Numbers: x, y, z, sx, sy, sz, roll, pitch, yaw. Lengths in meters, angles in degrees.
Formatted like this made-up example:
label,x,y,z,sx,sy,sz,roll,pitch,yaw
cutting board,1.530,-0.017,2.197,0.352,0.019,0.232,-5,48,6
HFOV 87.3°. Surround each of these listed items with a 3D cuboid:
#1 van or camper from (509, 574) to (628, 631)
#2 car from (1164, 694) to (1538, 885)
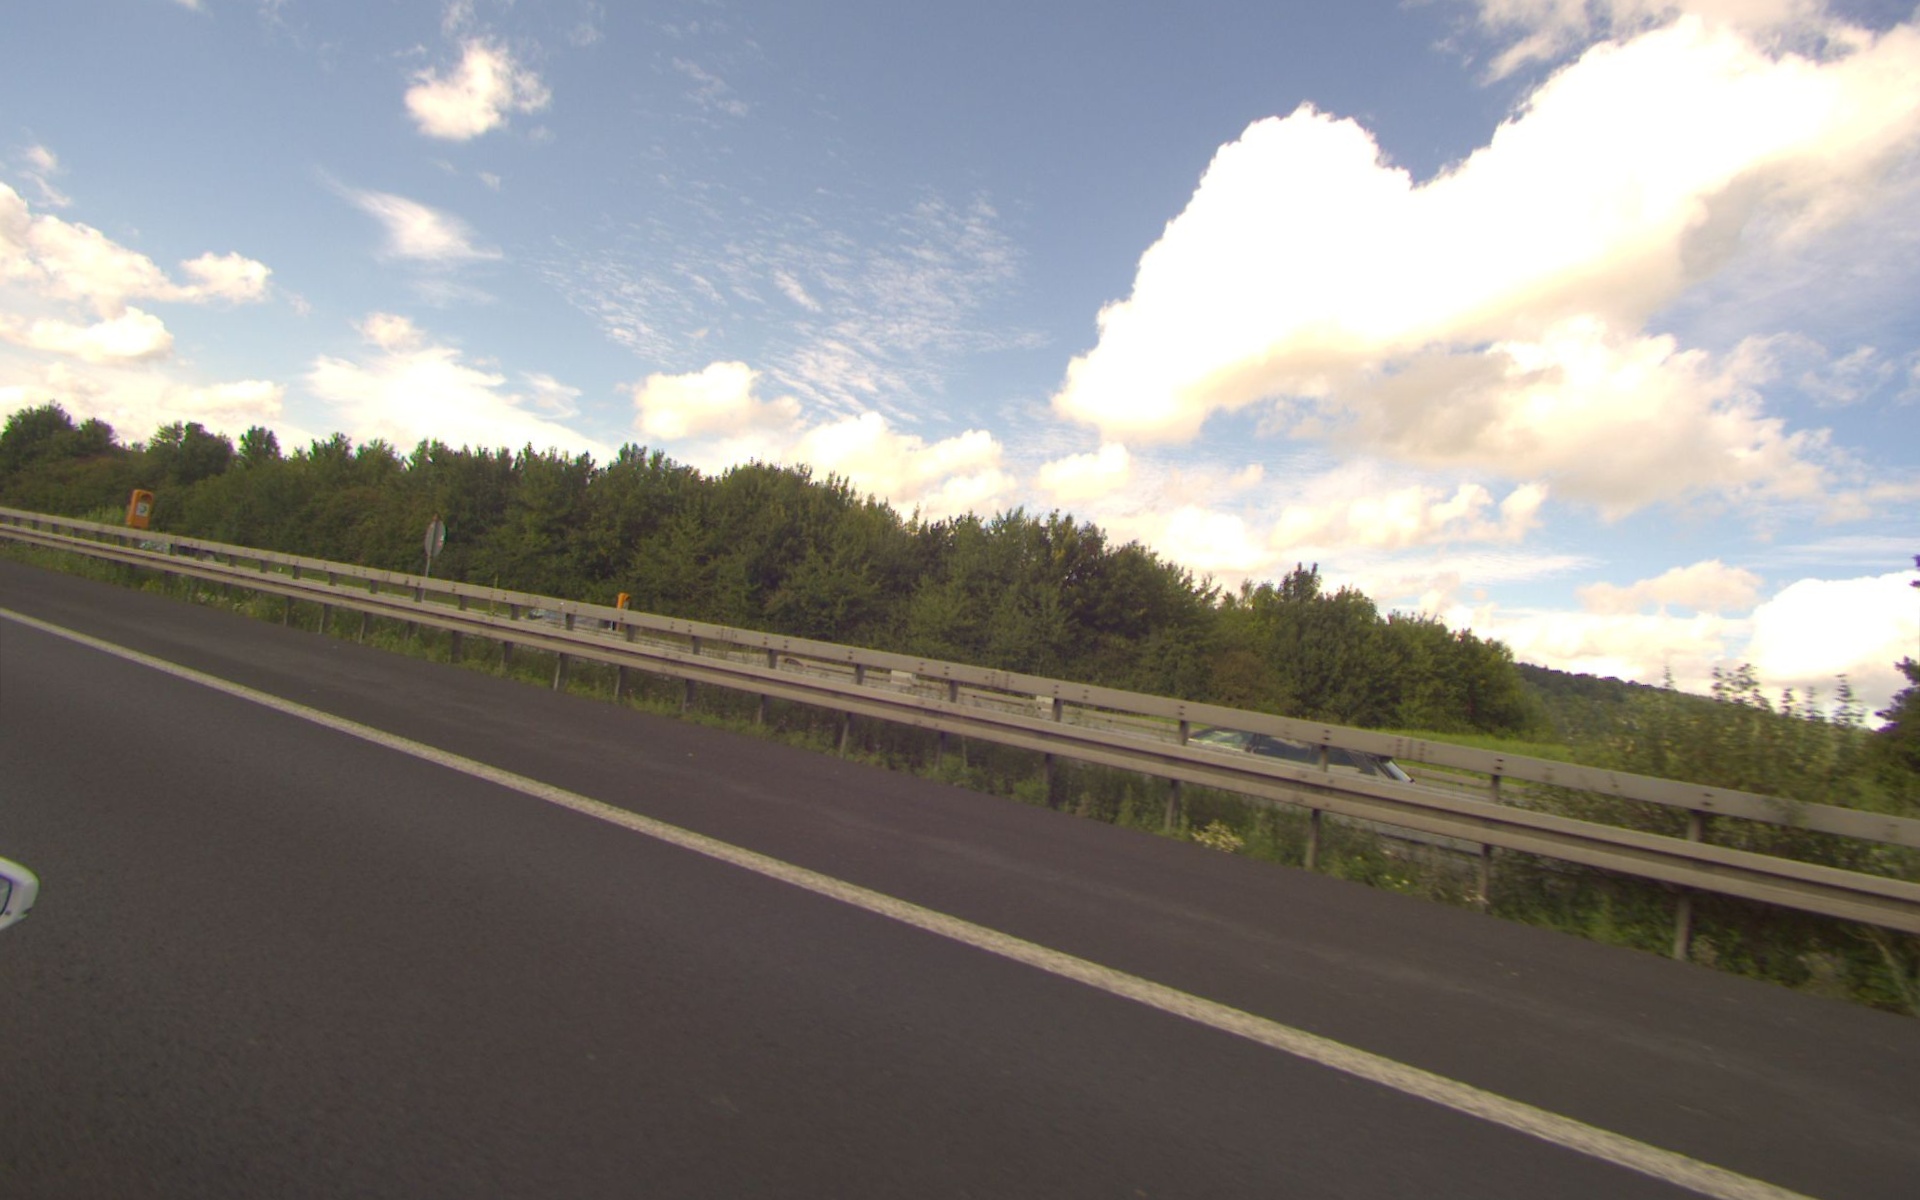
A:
label,x,y,z,sx,sy,sz,roll,pitch,yaw
van or camper,-21.114,0.144,54.241,5.670,2.205,2.200,7,-2,18
car,5.191,2.397,13.562,4.275,1.589,1.787,7,-2,34
